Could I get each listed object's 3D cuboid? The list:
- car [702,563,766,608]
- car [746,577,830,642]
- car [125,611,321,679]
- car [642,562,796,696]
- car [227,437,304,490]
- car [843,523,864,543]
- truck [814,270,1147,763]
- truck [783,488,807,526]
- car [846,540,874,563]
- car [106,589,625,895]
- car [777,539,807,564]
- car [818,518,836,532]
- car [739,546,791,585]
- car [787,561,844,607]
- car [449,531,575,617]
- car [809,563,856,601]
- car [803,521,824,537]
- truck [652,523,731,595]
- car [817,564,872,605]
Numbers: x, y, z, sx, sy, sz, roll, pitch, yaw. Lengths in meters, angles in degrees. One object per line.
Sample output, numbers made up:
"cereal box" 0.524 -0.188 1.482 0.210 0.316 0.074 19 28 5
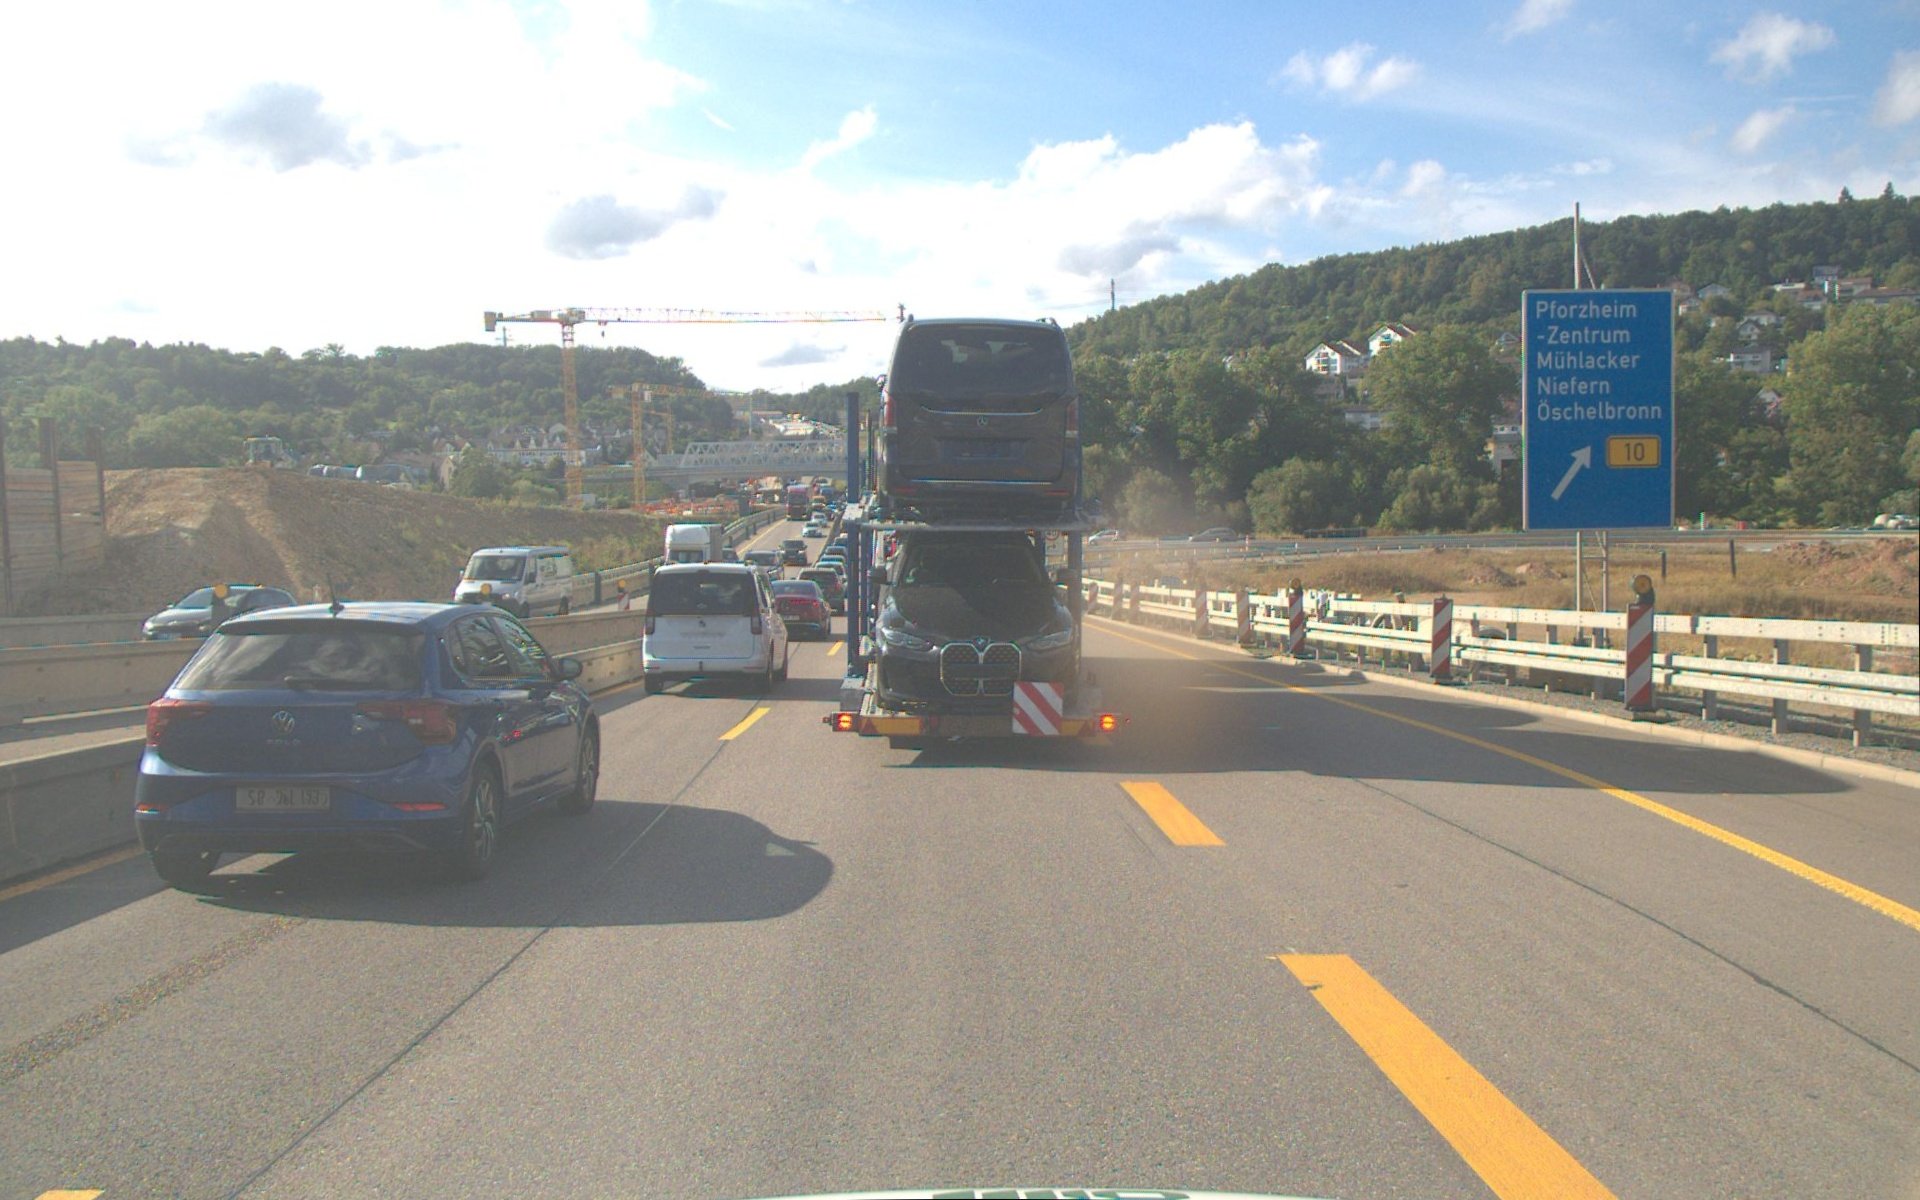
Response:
"car" -9.075 -0.613 66.712 2.083 1.703 4.271 1 1 -2
"car" -4.363 0.233 42.611 1.954 1.584 4.398 0 0 -3
"car" -15.064 0.881 34.075 1.879 1.295 4.003 0 0 7
"car" -3.485 0.407 24.554 1.786 1.823 3.999 0 0 -1
"car" -36.974 -7.244 88.220 1.955 2.177 5.318 -5 0 -3
"car" -9.606 -6.000 148.559 1.808 1.677 4.500 0 1 -5
"truck" -0.059 -0.648 23.145 2.697 4.024 18.883 1 0 -1
"truck" -20.312 -11.390 203.187 2.858 4.463 6.279 1 1 -6
"car" -7.399 -3.561 122.611 1.953 1.579 3.999 0 0 -1
"car" -3.218 0.735 9.844 1.687 1.447 3.998 0 -2 -1
"car" -11.915 -3.414 117.446 1.815 1.664 4.746 1 1 -3
"car" -14.583 -8.239 181.691 1.719 1.465 3.803 0 1 -2
"car" -9.645 -1.698 81.970 2.083 1.796 5.029 1 1 -2
"car" -5.114 -0.546 58.861 1.954 1.579 3.996 0 0 -5
"car" -13.432 -0.735 49.956 2.212 2.444 5.867 0 0 0
"car" -5.864 -0.813 76.261 1.953 1.695 3.999 0 0 -2
"car" -14.372 -6.942 162.356 1.815 1.465 4.556 0 1 -3
"truck" -13.370 -1.979 82.864 2.645 3.369 7.537 0 0 1
"car" -4.515 -0.575 65.272 1.953 1.579 3.999 0 0 -1
